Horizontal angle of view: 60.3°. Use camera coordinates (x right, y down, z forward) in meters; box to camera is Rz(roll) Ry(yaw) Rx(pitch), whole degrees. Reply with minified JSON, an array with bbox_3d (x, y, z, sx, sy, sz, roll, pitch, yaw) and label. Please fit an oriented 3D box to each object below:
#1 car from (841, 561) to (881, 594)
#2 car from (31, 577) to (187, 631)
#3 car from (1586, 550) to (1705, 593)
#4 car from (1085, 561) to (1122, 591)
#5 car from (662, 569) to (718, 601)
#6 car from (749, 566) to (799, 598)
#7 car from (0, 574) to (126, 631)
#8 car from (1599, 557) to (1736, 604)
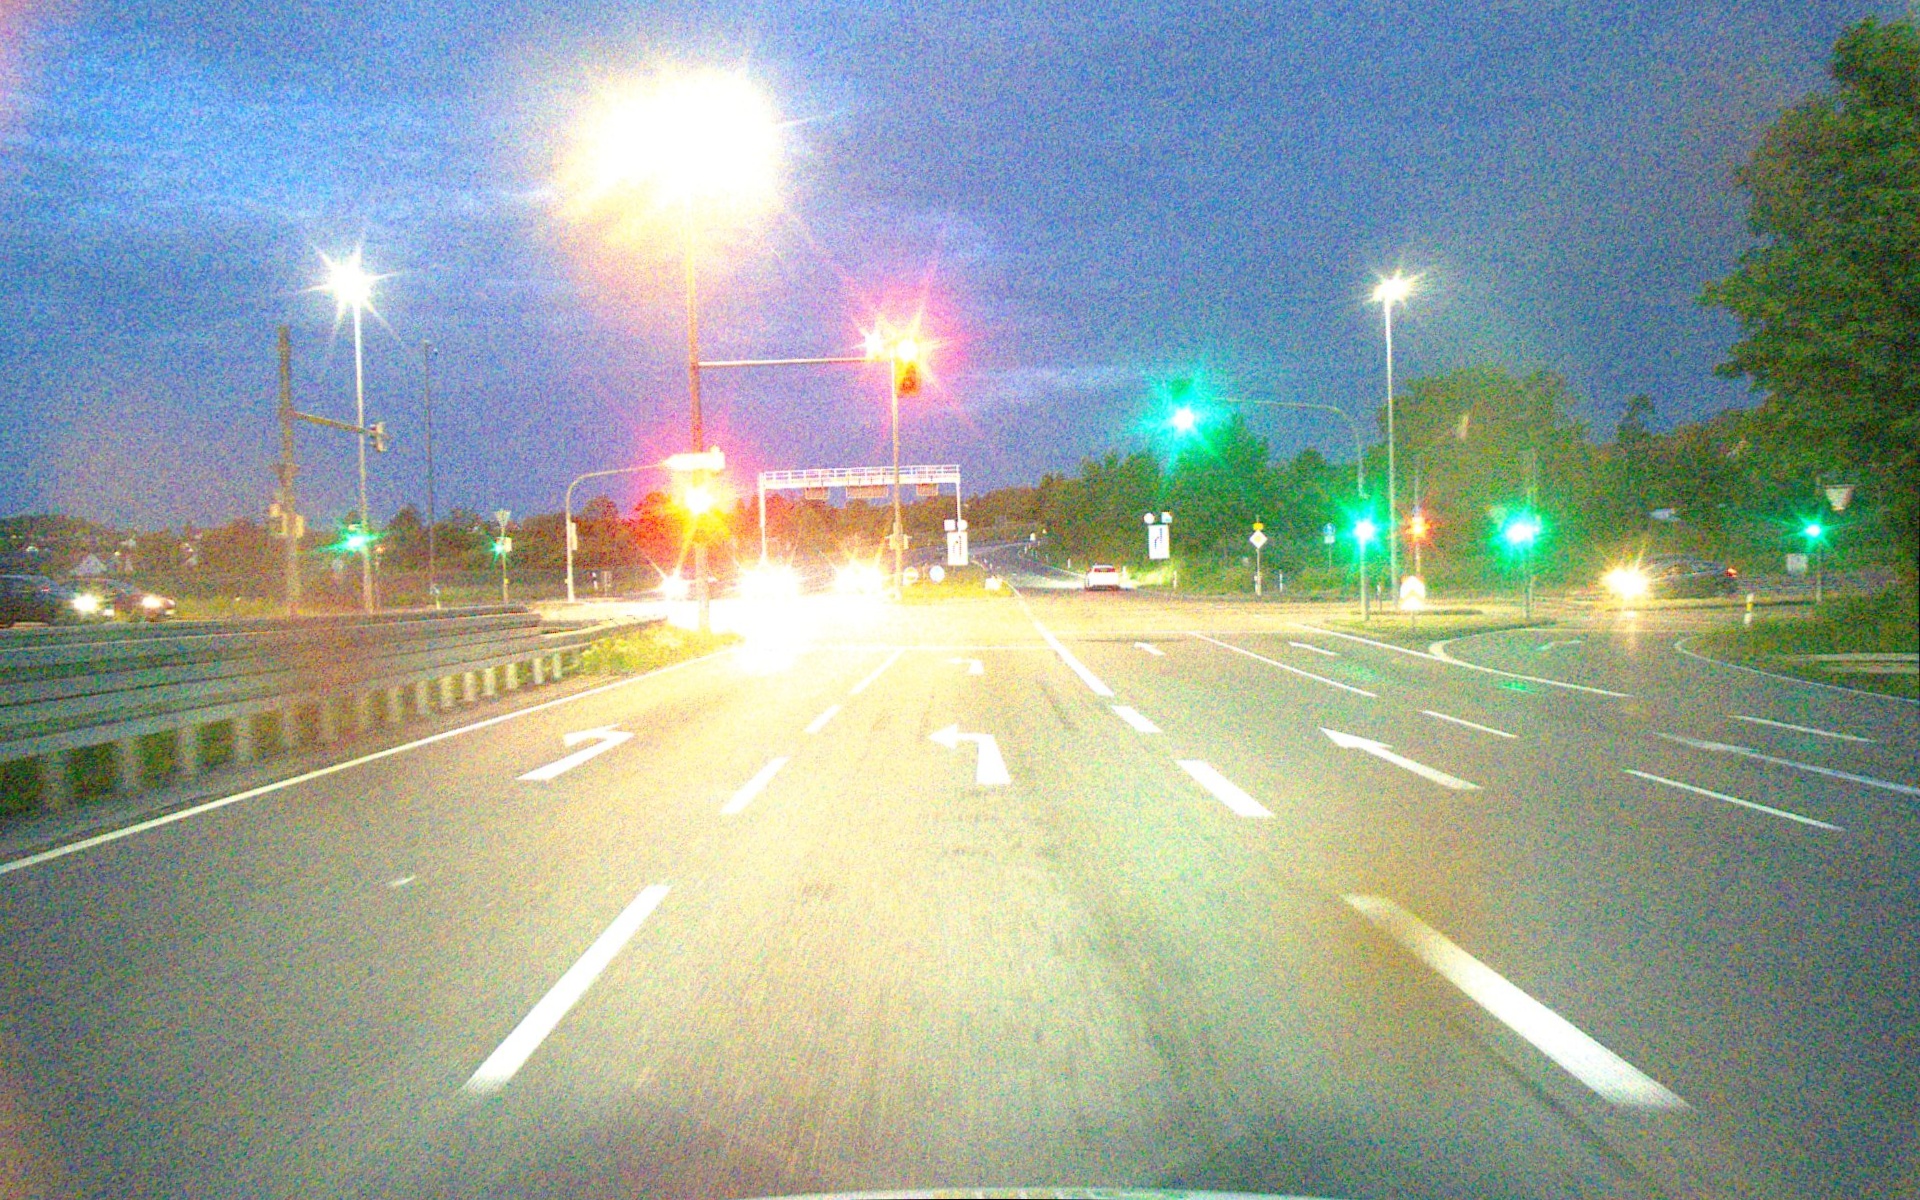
[{"bbox_3d":[-5.429,-1.253,91.153,1.953,1.727,4.000,-1,1,0],"label":"car"},{"bbox_3d":[-26.627,0.101,51.839,3.959,1.564,1.729,-1,1,-2],"label":"car"},{"bbox_3d":[27.077,-1.146,65.404,3.907,1.596,1.900,-1,2,-2],"label":"car"},{"bbox_3d":[8.055,-1.387,93.054,1.965,1.639,3.847,0,1,3],"label":"car"},{"bbox_3d":[-12.991,-0.736,79.711,1.953,1.450,4.532,-1,1,0],"label":"car"},{"bbox_3d":[-9.220,-0.910,82.488,1.953,1.507,4.682,-1,1,0],"label":"car"},{"bbox_3d":[-26.967,0.073,48.354,4.225,1.564,1.729,-1,1,-1],"label":"car"},{"bbox_3d":[24.892,-0.706,58.295,3.991,1.596,2.002,-1,1,-2],"label":"car"}]
